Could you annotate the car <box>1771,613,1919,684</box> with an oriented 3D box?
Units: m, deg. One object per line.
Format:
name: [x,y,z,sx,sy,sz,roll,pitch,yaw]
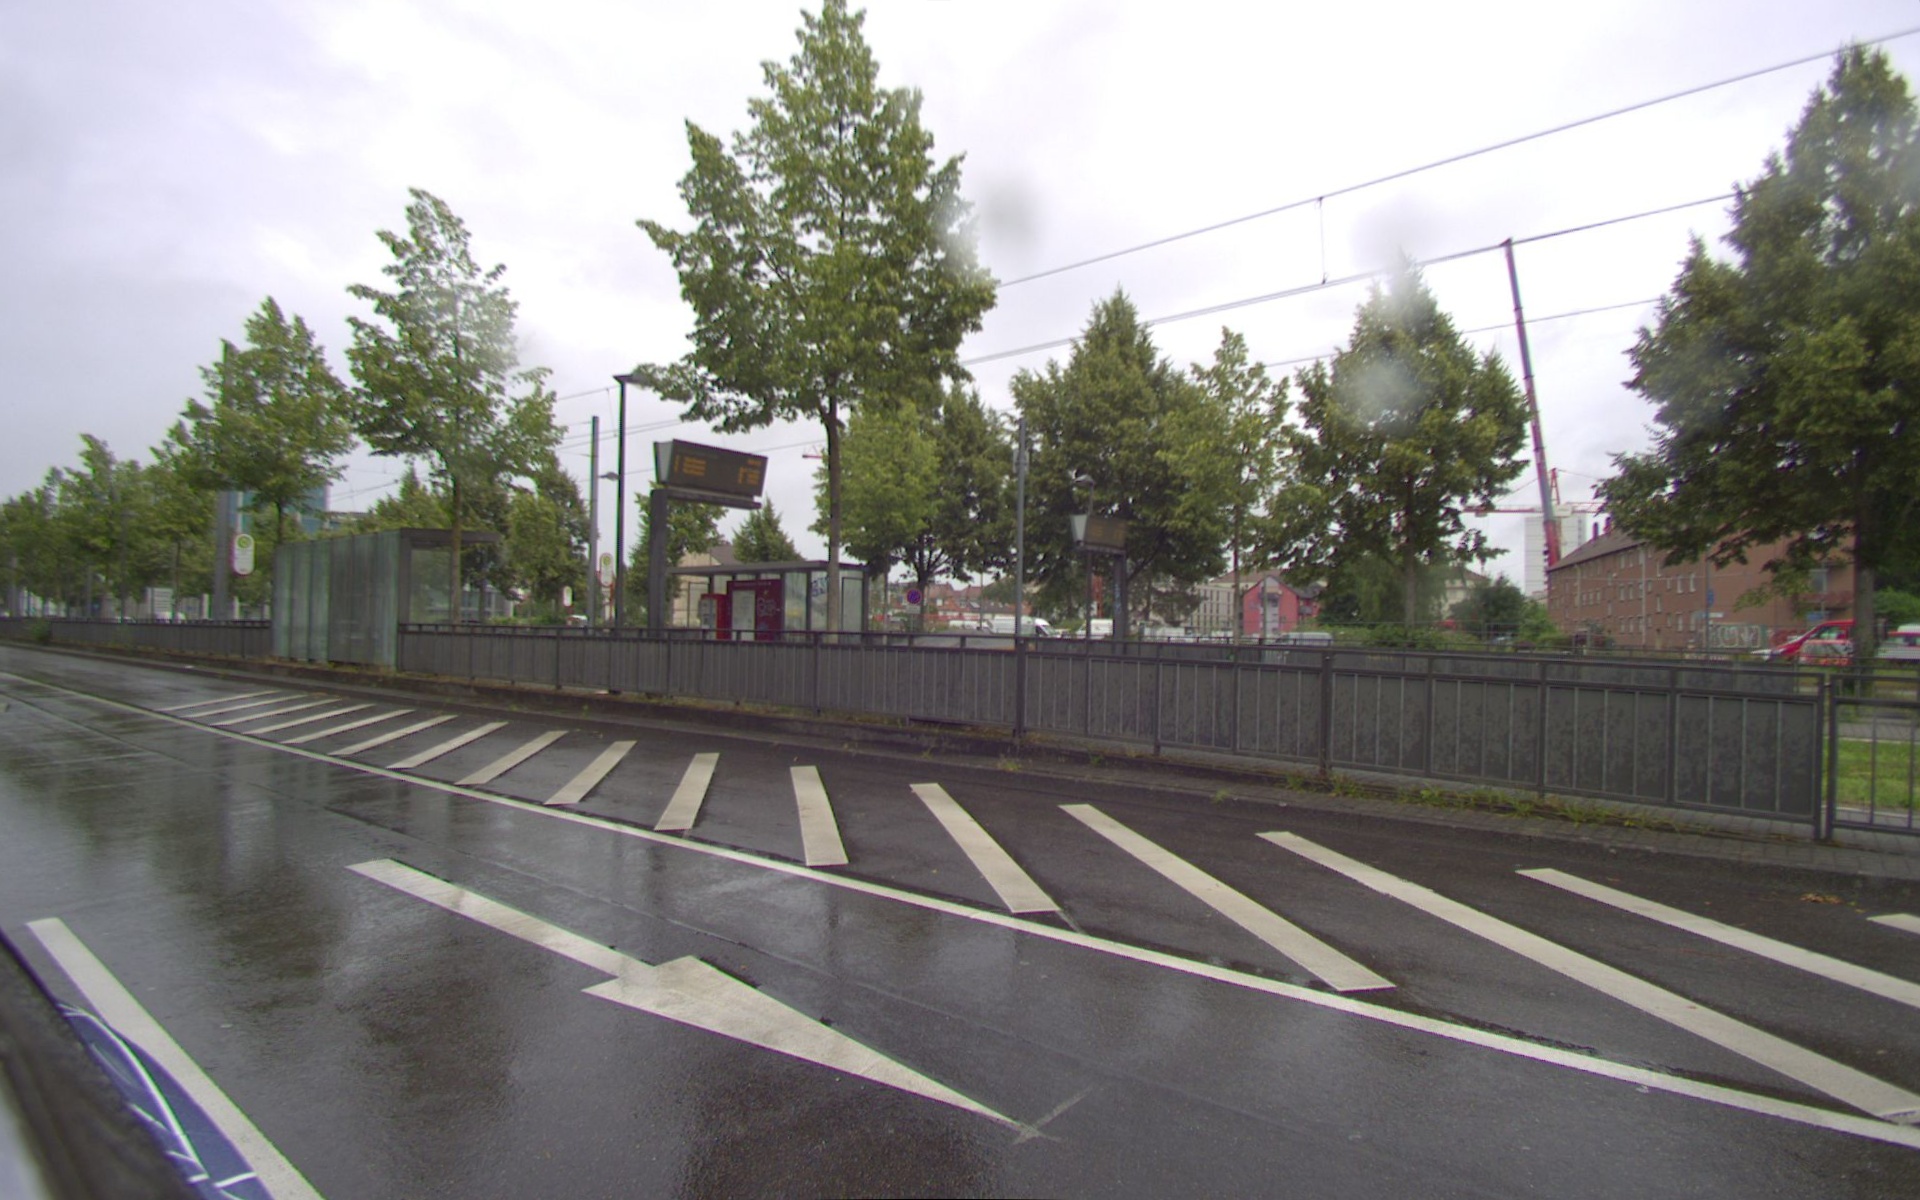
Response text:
car: [33.659,1.730,36.612,1.597,2.489,6.500,2,-2,-39]

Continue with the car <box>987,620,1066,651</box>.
car: [5.577,2.957,85.529,6.735,2.480,1.975,0,0,37]

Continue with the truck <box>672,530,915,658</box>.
truck: [-5.799,-0.176,33.849,9.174,3.806,2.660,0,0,40]

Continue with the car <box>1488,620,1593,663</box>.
car: [35.832,2.519,62.553,5.482,2.471,1.976,0,0,36]

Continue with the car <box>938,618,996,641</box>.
car: [0.736,3.128,108.243,6.123,2.323,1.978,0,0,32]

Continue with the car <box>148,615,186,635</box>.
car: [-76.588,2.406,97.758,3.995,1.759,1.974,0,0,38]

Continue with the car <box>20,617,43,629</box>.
car: [-137.731,3.383,150.119,3.995,1.759,1.974,0,0,38]

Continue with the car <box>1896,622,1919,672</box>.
car: [45.948,2.118,45.008,1.597,2.296,6.114,2,-3,-37]

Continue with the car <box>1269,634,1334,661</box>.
car: [26.273,3.599,77.913,4.415,1.891,1.855,0,0,34]

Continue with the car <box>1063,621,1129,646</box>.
car: [11.886,2.922,88.688,5.412,2.067,1.975,0,0,37]
